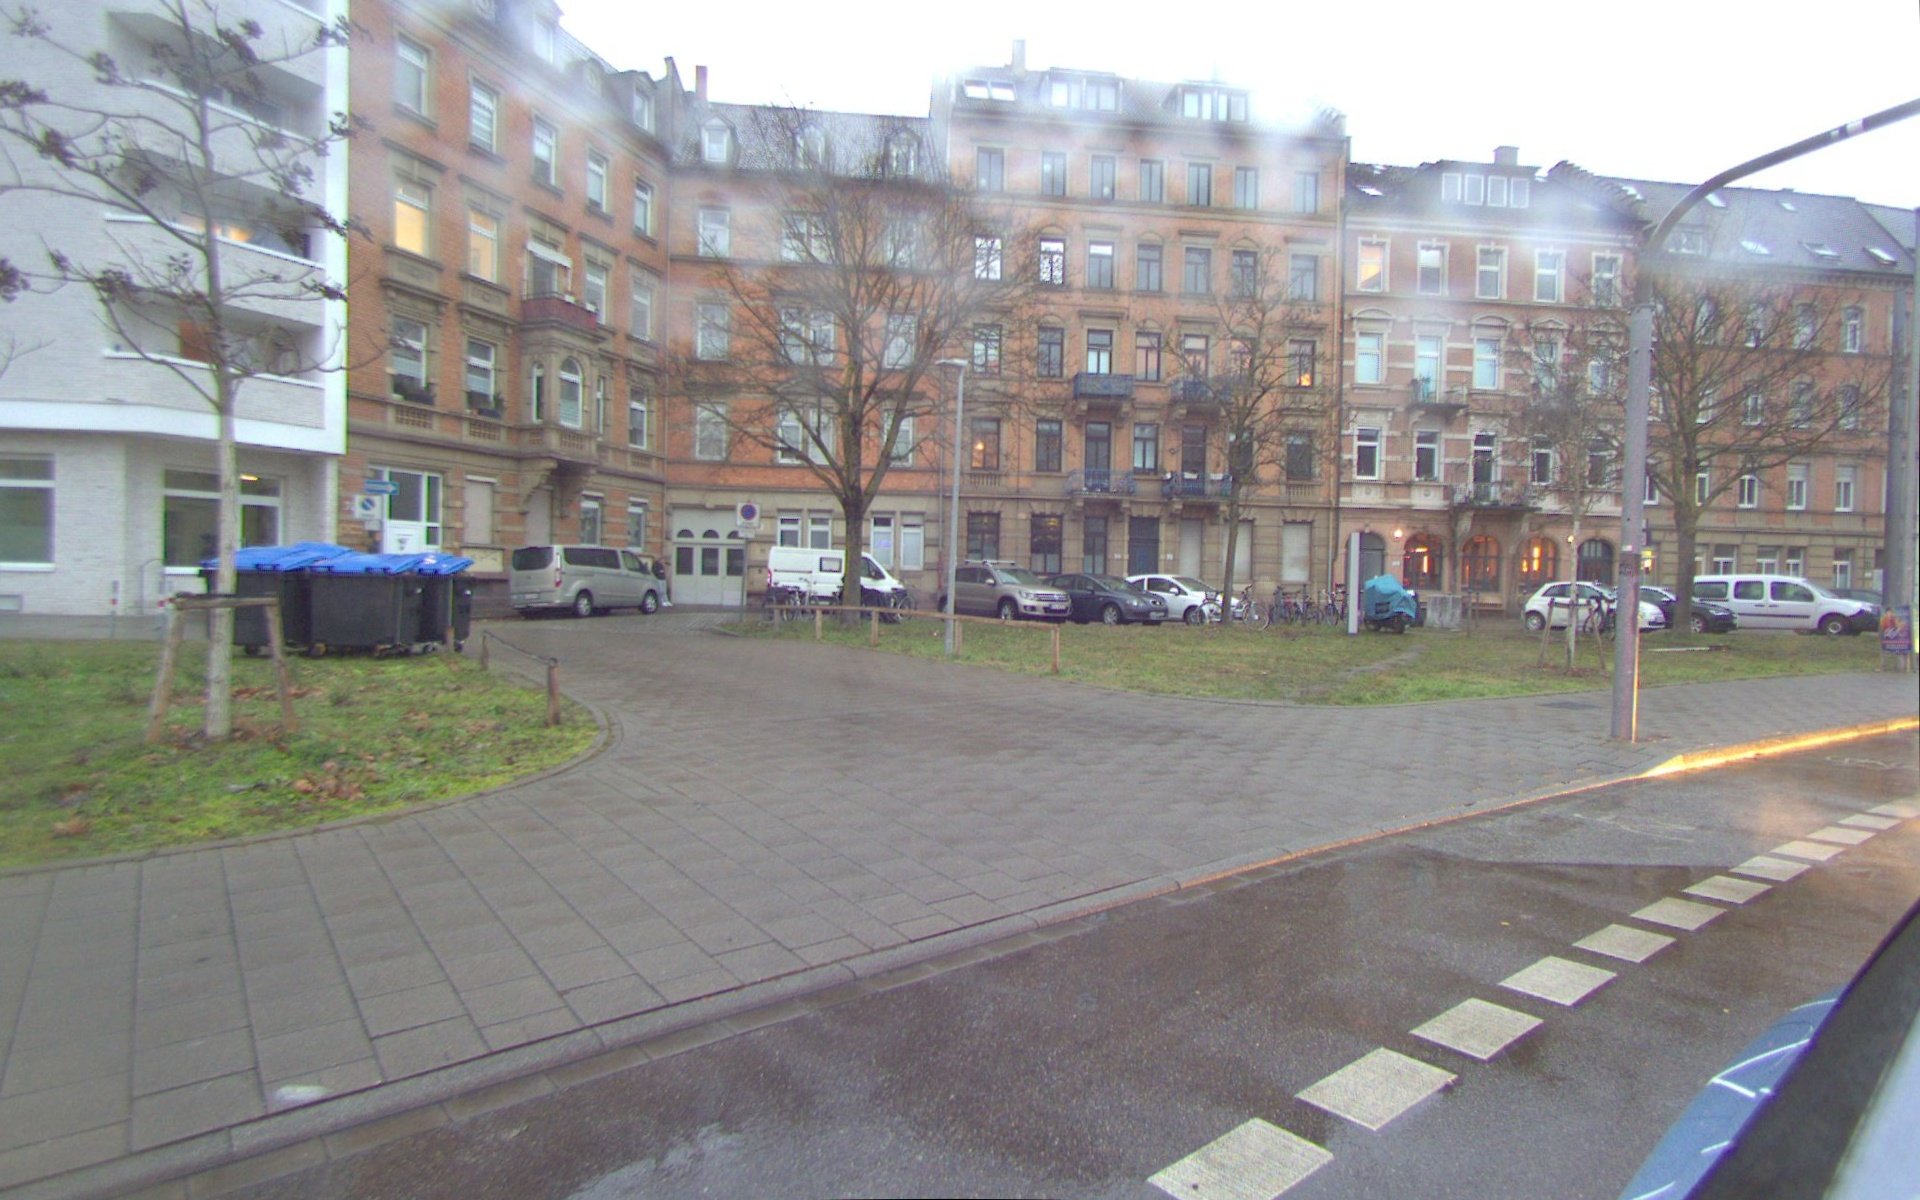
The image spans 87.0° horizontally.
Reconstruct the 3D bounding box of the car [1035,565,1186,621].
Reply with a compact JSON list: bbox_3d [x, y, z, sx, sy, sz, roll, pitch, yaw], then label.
[{"bbox_3d":[3.908,-0.179,26.670,1.649,1.372,3.737,2,0,-42],"label":"car"}]

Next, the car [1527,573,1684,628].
[{"bbox_3d":[18.397,0.017,28.961,1.583,1.461,3.467,1,0,-34],"label":"car"}]

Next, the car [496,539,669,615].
[{"bbox_3d":[-10.520,-0.564,28.622,1.976,1.943,4.715,-1,-1,21],"label":"car"}]

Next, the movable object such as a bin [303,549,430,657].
[{"bbox_3d":[-8.301,0.022,14.217,1.200,1.433,1.018,1,2,-3],"label":"movable object such as a bin"}]

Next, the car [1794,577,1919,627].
[{"bbox_3d":[27.085,0.093,29.382,1.737,1.250,4.066,2,3,-35],"label":"car"}]

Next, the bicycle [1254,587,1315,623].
[{"bbox_3d":[9.335,0.140,29.191,0.613,0.978,2.175,3,-1,-13],"label":"bicycle"}]

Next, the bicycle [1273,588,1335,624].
[{"bbox_3d":[9.960,0.164,29.378,0.613,0.978,2.175,3,-1,-13],"label":"bicycle"}]

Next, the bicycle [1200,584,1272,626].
[{"bbox_3d":[6.636,0.109,24.415,1.628,0.948,0.512,2,1,15],"label":"bicycle"}]

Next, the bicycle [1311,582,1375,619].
[{"bbox_3d":[11.082,0.001,29.356,0.613,0.978,2.176,1,2,-13],"label":"bicycle"}]

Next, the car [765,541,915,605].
[{"bbox_3d":[-4.104,-0.922,34.503,4.884,2.038,2.004,1,2,-8],"label":"car"}]

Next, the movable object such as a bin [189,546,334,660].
[{"bbox_3d":[-9.646,0.031,14.026,1.303,1.514,1.031,1,1,0],"label":"movable object such as a bin"}]

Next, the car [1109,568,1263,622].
[{"bbox_3d":[6.091,-0.167,27.555,1.669,1.353,3.852,0,1,-42],"label":"car"}]

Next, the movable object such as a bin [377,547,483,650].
[{"bbox_3d":[-8.021,-0.007,15.369,1.022,1.509,1.035,0,-1,6],"label":"movable object such as a bin"}]

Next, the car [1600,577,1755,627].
[{"bbox_3d":[21.009,0.039,29.720,1.634,1.368,3.430,1,0,-39],"label":"car"}]

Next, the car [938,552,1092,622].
[{"bbox_3d":[1.356,-0.401,26.434,1.908,1.656,3.999,-1,3,-37],"label":"car"}]

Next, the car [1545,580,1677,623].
[{"bbox_3d":[24.228,0.078,37.744,3.967,1.520,1.740,1,-1,-9],"label":"car"}]

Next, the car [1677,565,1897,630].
[{"bbox_3d":[24.095,-0.130,29.662,1.745,1.611,4.663,0,3,-37],"label":"car"}]
